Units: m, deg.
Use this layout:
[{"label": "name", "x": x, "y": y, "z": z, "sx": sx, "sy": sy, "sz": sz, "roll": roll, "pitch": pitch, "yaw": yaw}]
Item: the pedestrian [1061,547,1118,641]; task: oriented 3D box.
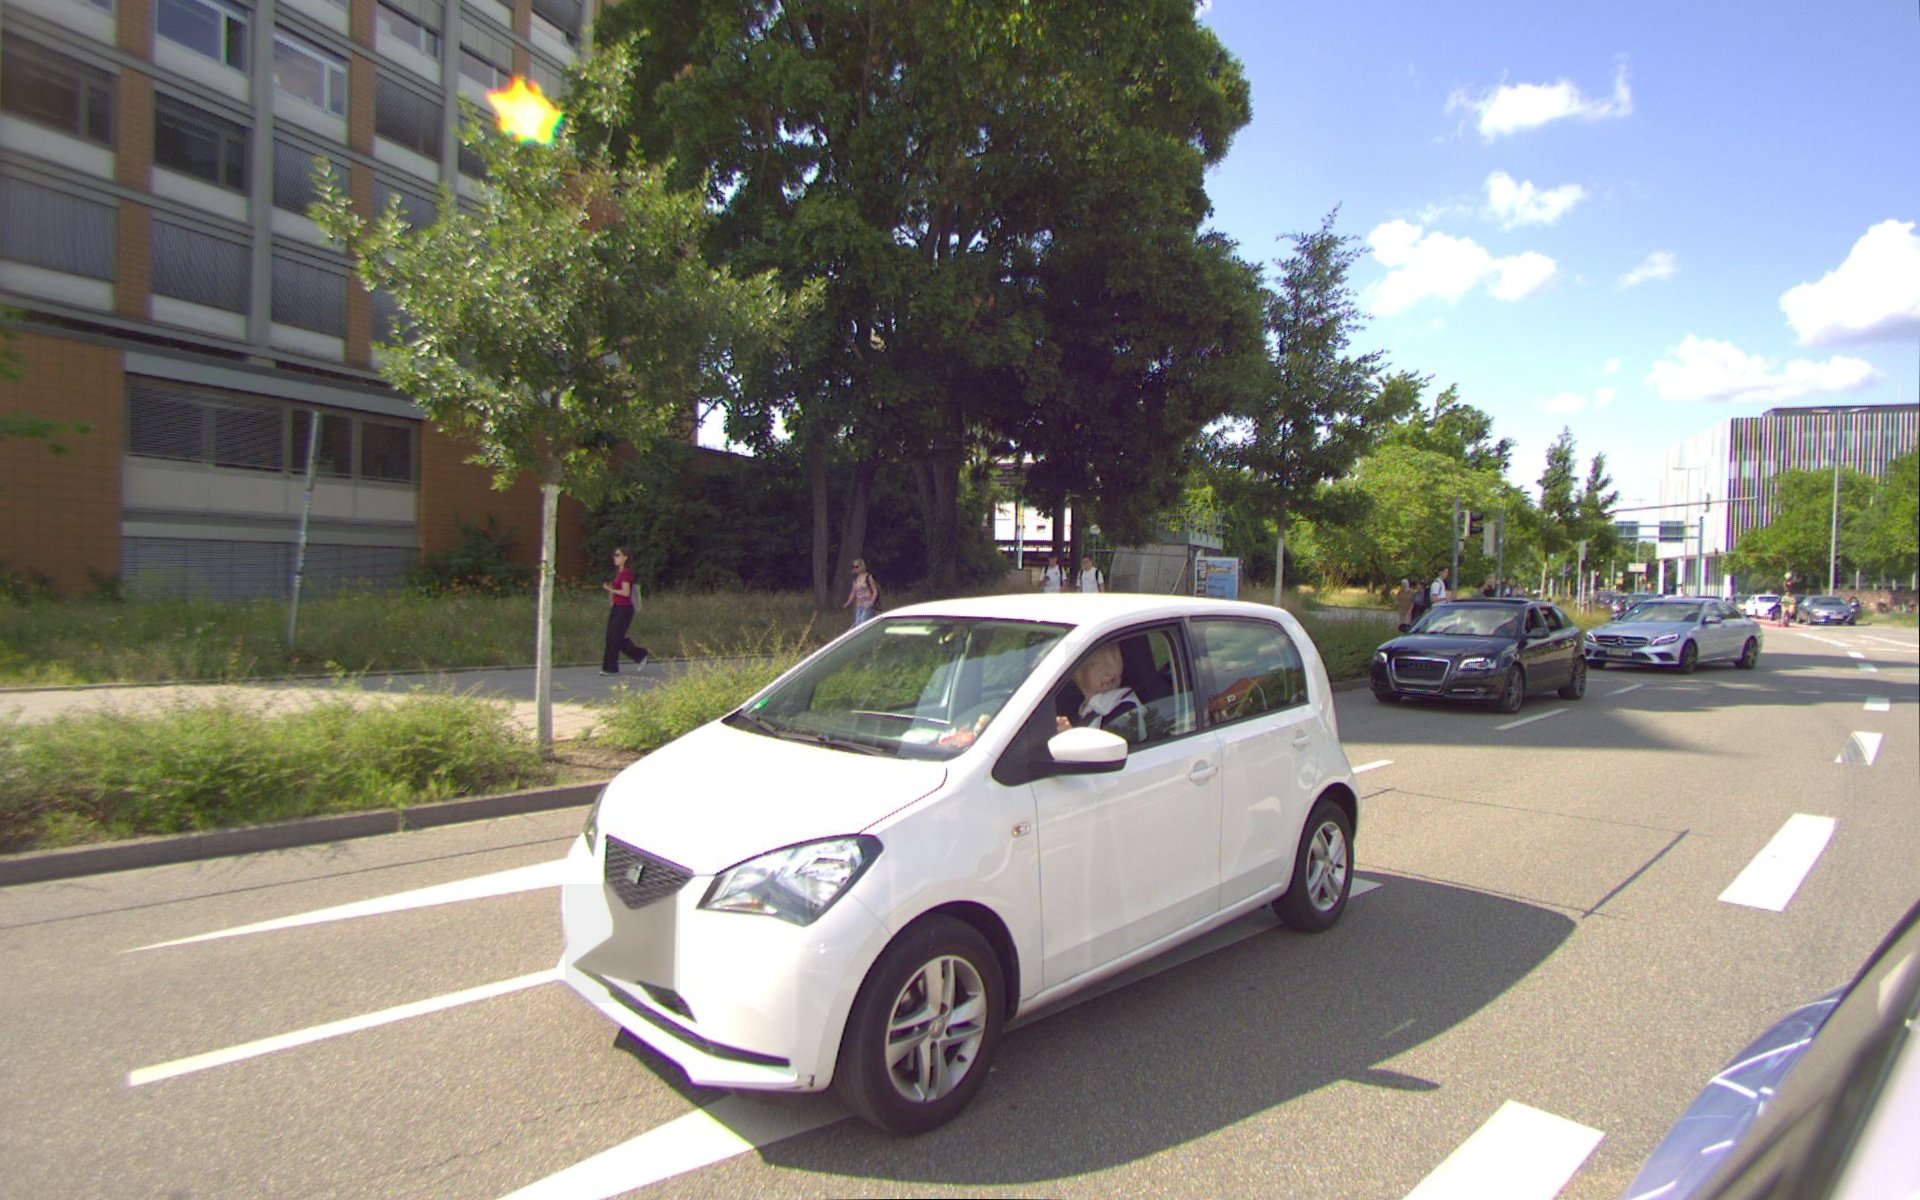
[{"label": "pedestrian", "x": 2.464, "y": -0.133, "z": 19.259, "sx": 0.614, "sy": 1.720, "sz": 0.876, "roll": 5, "pitch": 4, "yaw": 44}]

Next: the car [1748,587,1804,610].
[{"label": "car", "x": 50.468, "y": -0.108, "z": 62.675, "sx": 1.761, "sy": 1.371, "sz": 3.966, "roll": 0, "pitch": 1, "yaw": 25}]

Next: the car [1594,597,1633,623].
[{"label": "car", "x": 39.212, "y": 0.566, "z": 60.725, "sx": 1.815, "sy": 1.481, "sz": 3.950, "roll": 1, "pitch": 1, "yaw": 35}]

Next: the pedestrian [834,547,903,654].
[{"label": "pedestrian", "x": -1.471, "y": -0.008, "z": 16.341, "sx": 0.614, "sy": 1.642, "sz": 0.876, "roll": 5, "pitch": 4, "yaw": 44}]

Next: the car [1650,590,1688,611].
[{"label": "car", "x": 44.727, "y": -0.017, "z": 63.837, "sx": 1.898, "sy": 1.148, "sz": 4.052, "roll": 1, "pitch": 3, "yaw": 35}]

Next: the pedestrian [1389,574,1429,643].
[{"label": "pedestrian", "x": 11.580, "y": 0.207, "z": 26.086, "sx": 0.765, "sy": 1.757, "sz": 0.708, "roll": 0, "pitch": 0, "yaw": 41}]

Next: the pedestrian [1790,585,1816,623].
[{"label": "pedestrian", "x": 39.483, "y": 0.178, "z": 47.424, "sx": 0.731, "sy": 1.736, "sz": 0.868, "roll": 0, "pitch": 0, "yaw": 27}]

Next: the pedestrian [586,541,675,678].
[{"label": "pedestrian", "x": -4.176, "y": 0.101, "z": 12.810, "sx": 0.874, "sy": 1.642, "sz": 0.615, "roll": 0, "pitch": 4, "yaw": -41}]

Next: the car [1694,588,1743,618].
[{"label": "car", "x": 39.826, "y": 0.127, "z": 53.182, "sx": 1.814, "sy": 1.481, "sz": 3.951, "roll": 1, "pitch": 1, "yaw": 34}]

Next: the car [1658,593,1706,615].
[{"label": "car", "x": 41.417, "y": 0.193, "z": 58.111, "sx": 1.582, "sy": 1.148, "sz": 3.597, "roll": 1, "pitch": 1, "yaw": 25}]

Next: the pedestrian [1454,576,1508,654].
[{"label": "pedestrian", "x": 12.084, "y": 0.327, "z": 23.471, "sx": 0.755, "sy": 1.757, "sz": 0.926, "roll": 0, "pitch": 0, "yaw": -43}]

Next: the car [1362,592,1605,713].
[{"label": "car", "x": 7.324, "y": 0.606, "z": 13.994, "sx": 4.063, "sy": 1.389, "sz": 1.701, "roll": 0, "pitch": 1, "yaw": -43}]

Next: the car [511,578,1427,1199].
[{"label": "car", "x": 0.414, "y": 0.661, "z": 4.308, "sx": 1.650, "sy": 1.439, "sz": 3.937, "roll": 2, "pitch": 2, "yaw": 44}]

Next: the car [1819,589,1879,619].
[{"label": "car", "x": 43.813, "y": 0.182, "z": 49.951, "sx": 1.990, "sy": 1.393, "sz": 4.210, "roll": 1, "pitch": 1, "yaw": 39}]

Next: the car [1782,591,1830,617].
[{"label": "car", "x": 47.059, "y": 0.199, "z": 56.352, "sx": 1.722, "sy": 1.351, "sz": 3.742, "roll": 0, "pitch": 1, "yaw": 35}]

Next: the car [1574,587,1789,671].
[{"label": "car", "x": 14.740, "y": 0.499, "z": 20.614, "sx": 4.666, "sy": 1.473, "sz": 1.938, "roll": -1, "pitch": 2, "yaw": -32}]

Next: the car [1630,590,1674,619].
[{"label": "car", "x": 36.798, "y": 0.220, "z": 53.779, "sx": 1.816, "sy": 1.481, "sz": 3.948, "roll": 1, "pitch": 1, "yaw": 36}]

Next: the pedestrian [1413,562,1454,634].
[{"label": "pedestrian", "x": 11.814, "y": -0.059, "z": 25.239, "sx": 0.765, "sy": 1.757, "sz": 0.708, "roll": 0, "pitch": 0, "yaw": 41}]

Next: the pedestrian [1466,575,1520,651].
[{"label": "pedestrian", "x": 12.641, "y": 0.294, "z": 23.994, "sx": 0.755, "sy": 1.757, "sz": 0.926, "roll": 0, "pitch": 0, "yaw": -43}]

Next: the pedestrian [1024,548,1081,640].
[{"label": "pedestrian", "x": 1.799, "y": -0.127, "z": 19.695, "sx": 0.614, "sy": 1.720, "sz": 0.876, "roll": 5, "pitch": 4, "yaw": 44}]

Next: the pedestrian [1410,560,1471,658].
[{"label": "pedestrian", "x": 10.287, "y": 0.190, "z": 21.666, "sx": 0.755, "sy": 2.039, "sz": 0.963, "roll": 0, "pitch": 0, "yaw": -43}]
